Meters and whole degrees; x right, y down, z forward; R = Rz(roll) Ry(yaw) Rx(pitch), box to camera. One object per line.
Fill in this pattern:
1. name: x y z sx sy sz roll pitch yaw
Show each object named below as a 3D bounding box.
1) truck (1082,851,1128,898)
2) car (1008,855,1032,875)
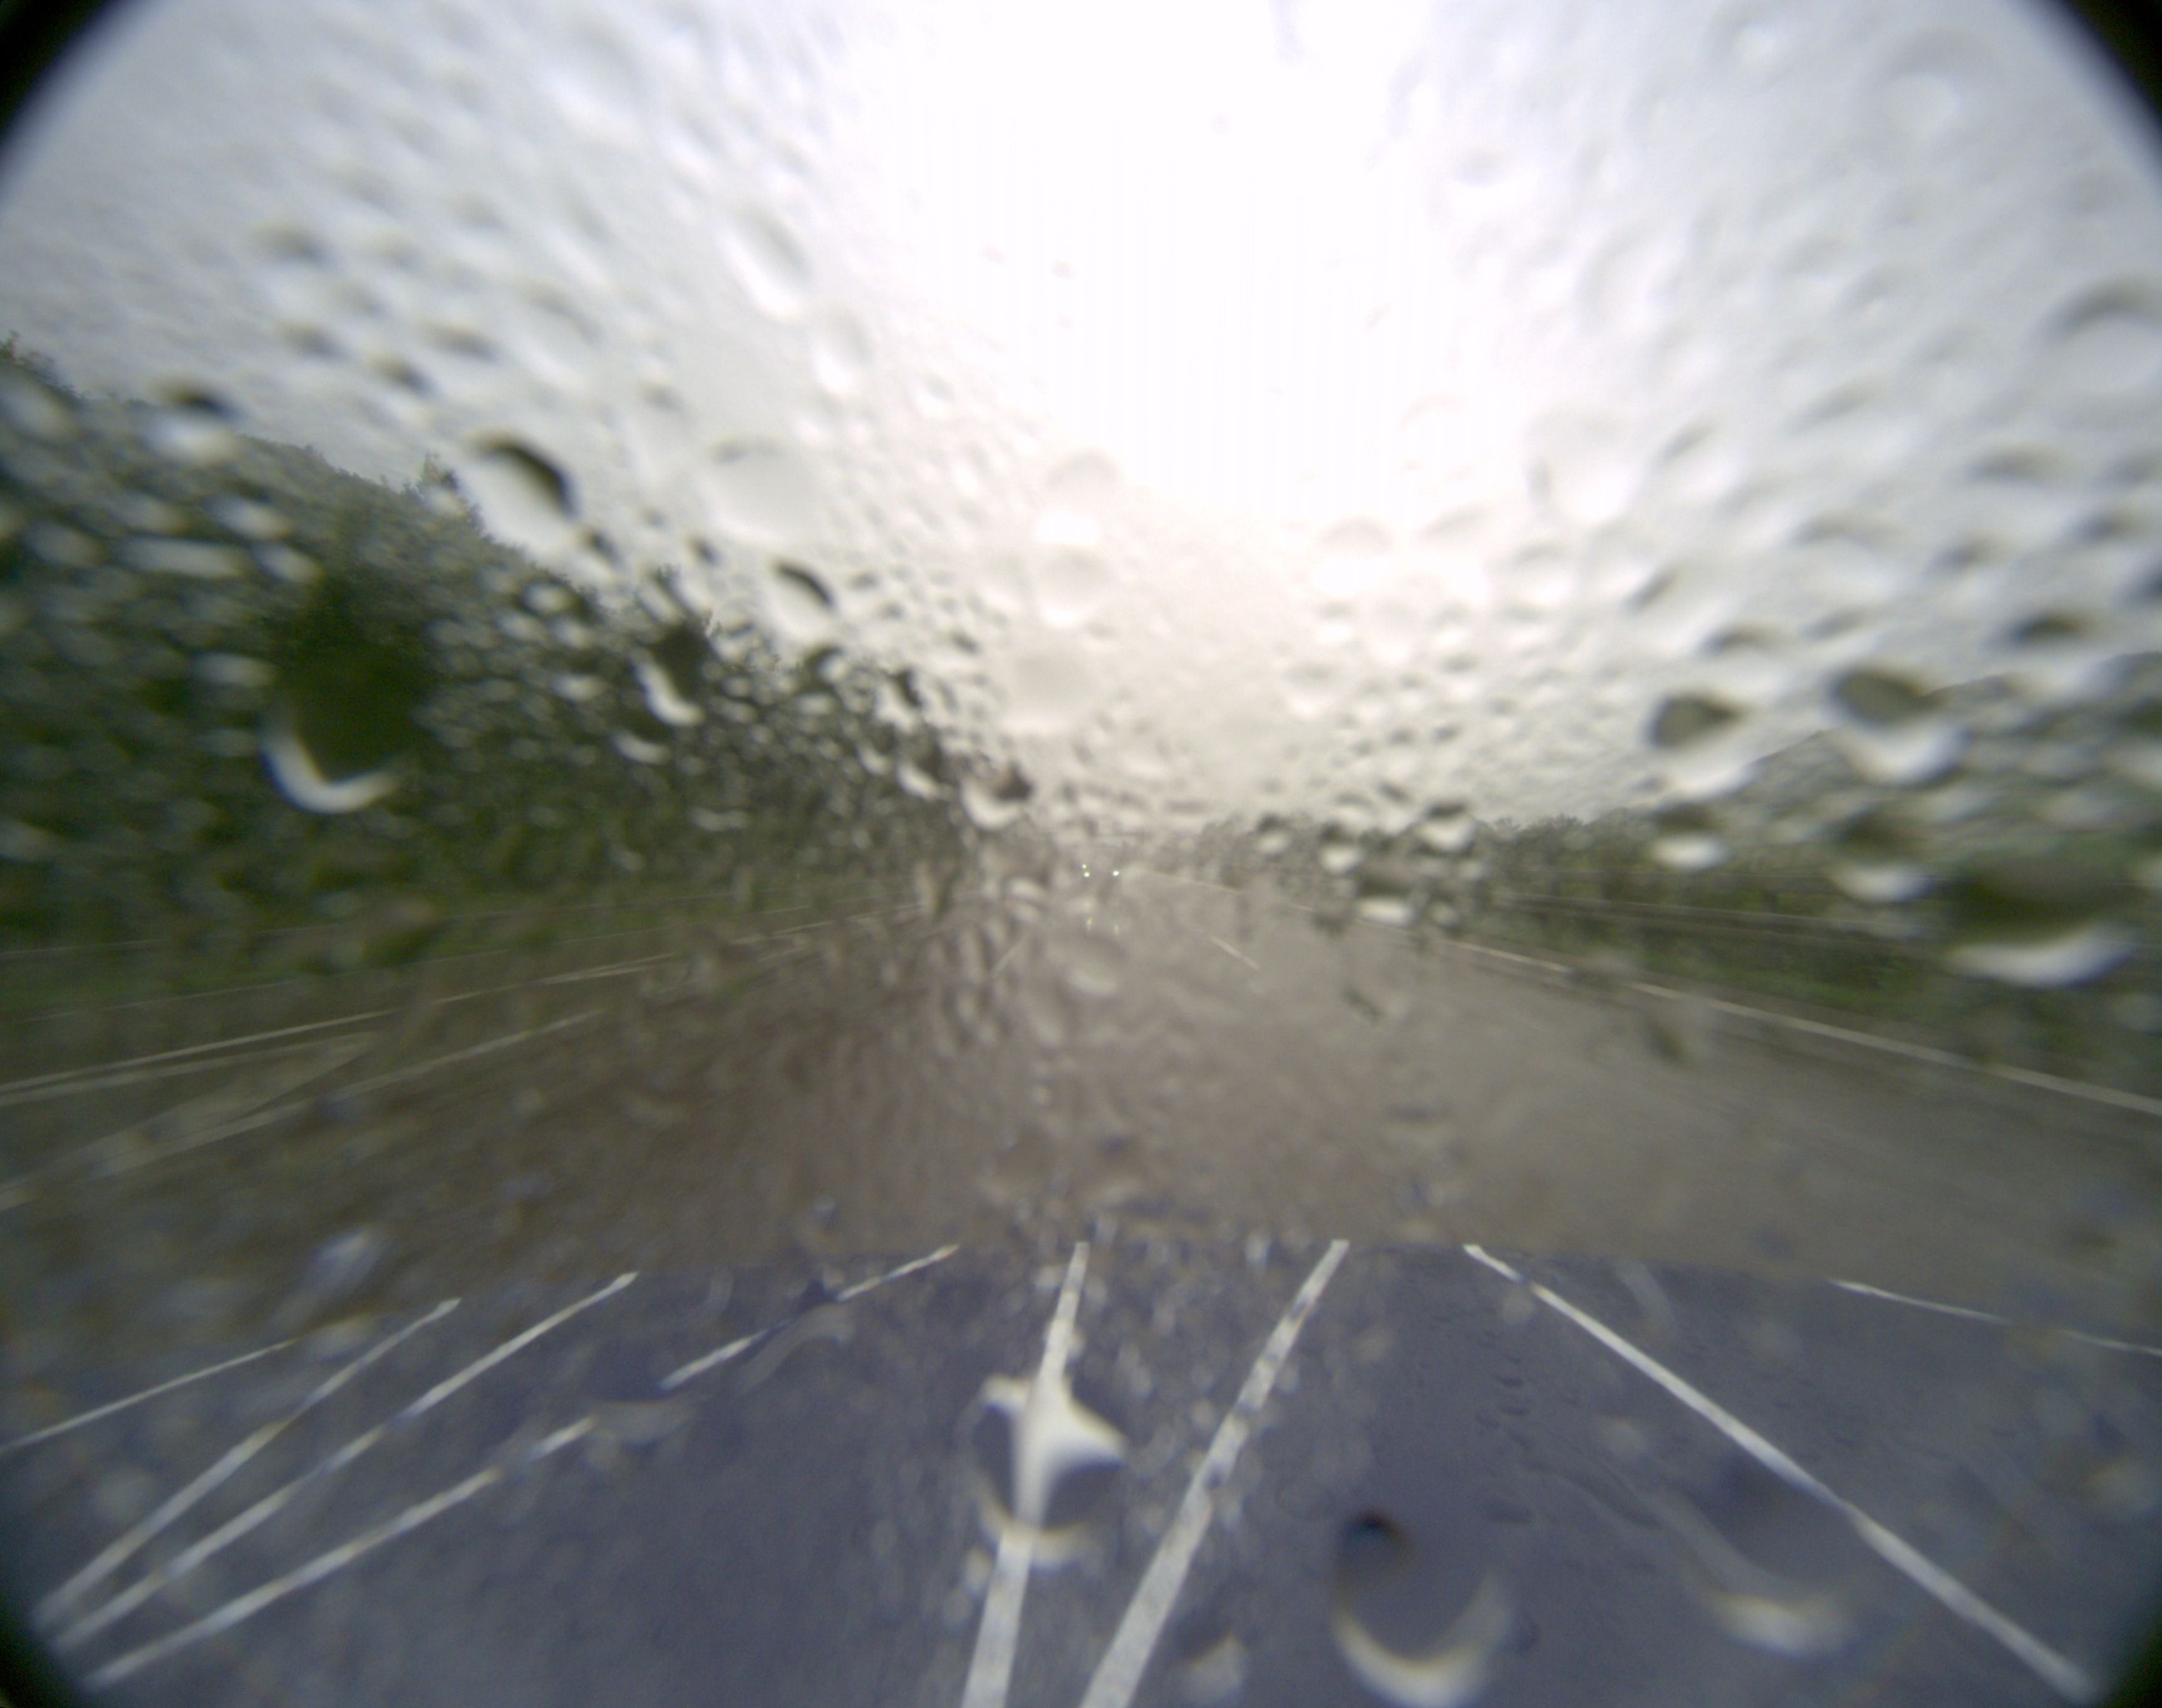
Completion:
1. truck: 1.102 0.894 37.001 1.998 2.002 7.575 -1 0 1
2. car: -6.332 1.108 79.553 1.858 2.002 4.001 -2 0 4
